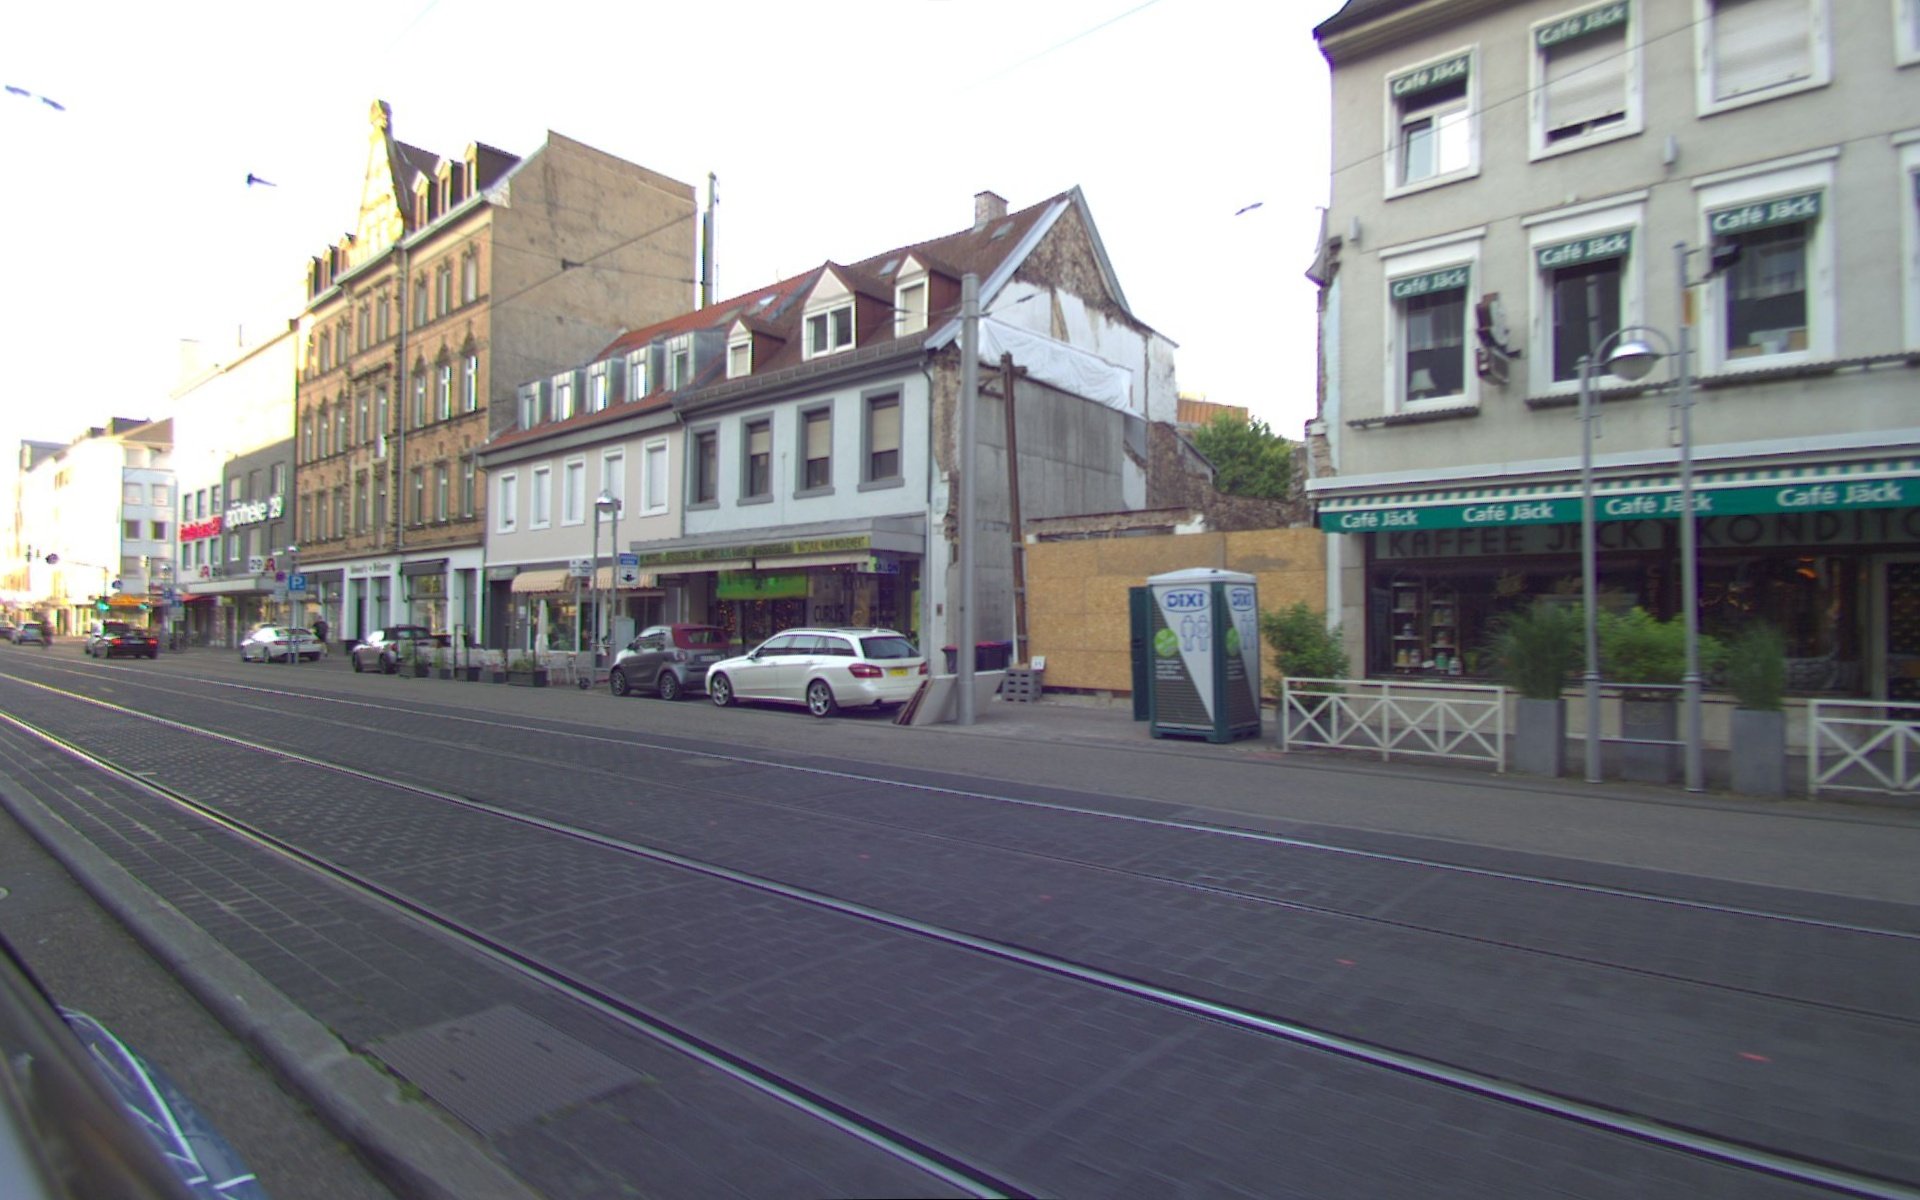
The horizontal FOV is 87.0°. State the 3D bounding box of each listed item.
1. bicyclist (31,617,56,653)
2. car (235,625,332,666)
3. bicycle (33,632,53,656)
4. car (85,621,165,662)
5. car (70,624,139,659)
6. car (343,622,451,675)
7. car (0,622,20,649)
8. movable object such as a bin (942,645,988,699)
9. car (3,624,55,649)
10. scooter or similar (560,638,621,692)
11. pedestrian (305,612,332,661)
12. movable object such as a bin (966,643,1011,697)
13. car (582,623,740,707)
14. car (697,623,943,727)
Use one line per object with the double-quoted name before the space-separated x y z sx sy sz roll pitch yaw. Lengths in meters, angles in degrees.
"bicyclist" -48.480 1.834 53.522 0.900 1.819 0.871 -1 0 42
"car" -26.849 1.758 40.138 4.399 1.431 1.974 -1 0 39
"bicycle" -48.510 2.330 53.537 2.264 1.199 0.487 -1 0 41
"car" -35.707 1.723 43.267 3.997 1.574 1.973 -1 0 40
"car" -41.827 1.978 49.454 3.997 1.564 1.973 -1 0 40
"car" -17.912 1.502 32.141 3.814 1.504 1.822 -1 0 41
"car" -69.082 2.534 72.550 3.997 1.854 1.973 0 1 40
"movable object such as a bin" 0.094 1.450 20.553 0.657 1.053 0.674 -2 -3 45
"car" -59.031 2.271 64.167 3.997 1.453 1.973 -1 0 40
"scooter or similar" -8.630 1.512 23.664 0.311 1.177 1.347 -1 0 43
"pedestrian" -27.543 1.547 43.448 0.738 2.029 1.049 -1 0 -45
"movable object such as a bin" 0.590 1.443 21.058 0.657 1.053 0.674 -1 0 45
"car" -6.430 1.315 21.628 3.469 1.582 1.638 -1 0 41
"car" -2.642 1.249 18.363 4.620 1.568 1.871 -1 0 41
